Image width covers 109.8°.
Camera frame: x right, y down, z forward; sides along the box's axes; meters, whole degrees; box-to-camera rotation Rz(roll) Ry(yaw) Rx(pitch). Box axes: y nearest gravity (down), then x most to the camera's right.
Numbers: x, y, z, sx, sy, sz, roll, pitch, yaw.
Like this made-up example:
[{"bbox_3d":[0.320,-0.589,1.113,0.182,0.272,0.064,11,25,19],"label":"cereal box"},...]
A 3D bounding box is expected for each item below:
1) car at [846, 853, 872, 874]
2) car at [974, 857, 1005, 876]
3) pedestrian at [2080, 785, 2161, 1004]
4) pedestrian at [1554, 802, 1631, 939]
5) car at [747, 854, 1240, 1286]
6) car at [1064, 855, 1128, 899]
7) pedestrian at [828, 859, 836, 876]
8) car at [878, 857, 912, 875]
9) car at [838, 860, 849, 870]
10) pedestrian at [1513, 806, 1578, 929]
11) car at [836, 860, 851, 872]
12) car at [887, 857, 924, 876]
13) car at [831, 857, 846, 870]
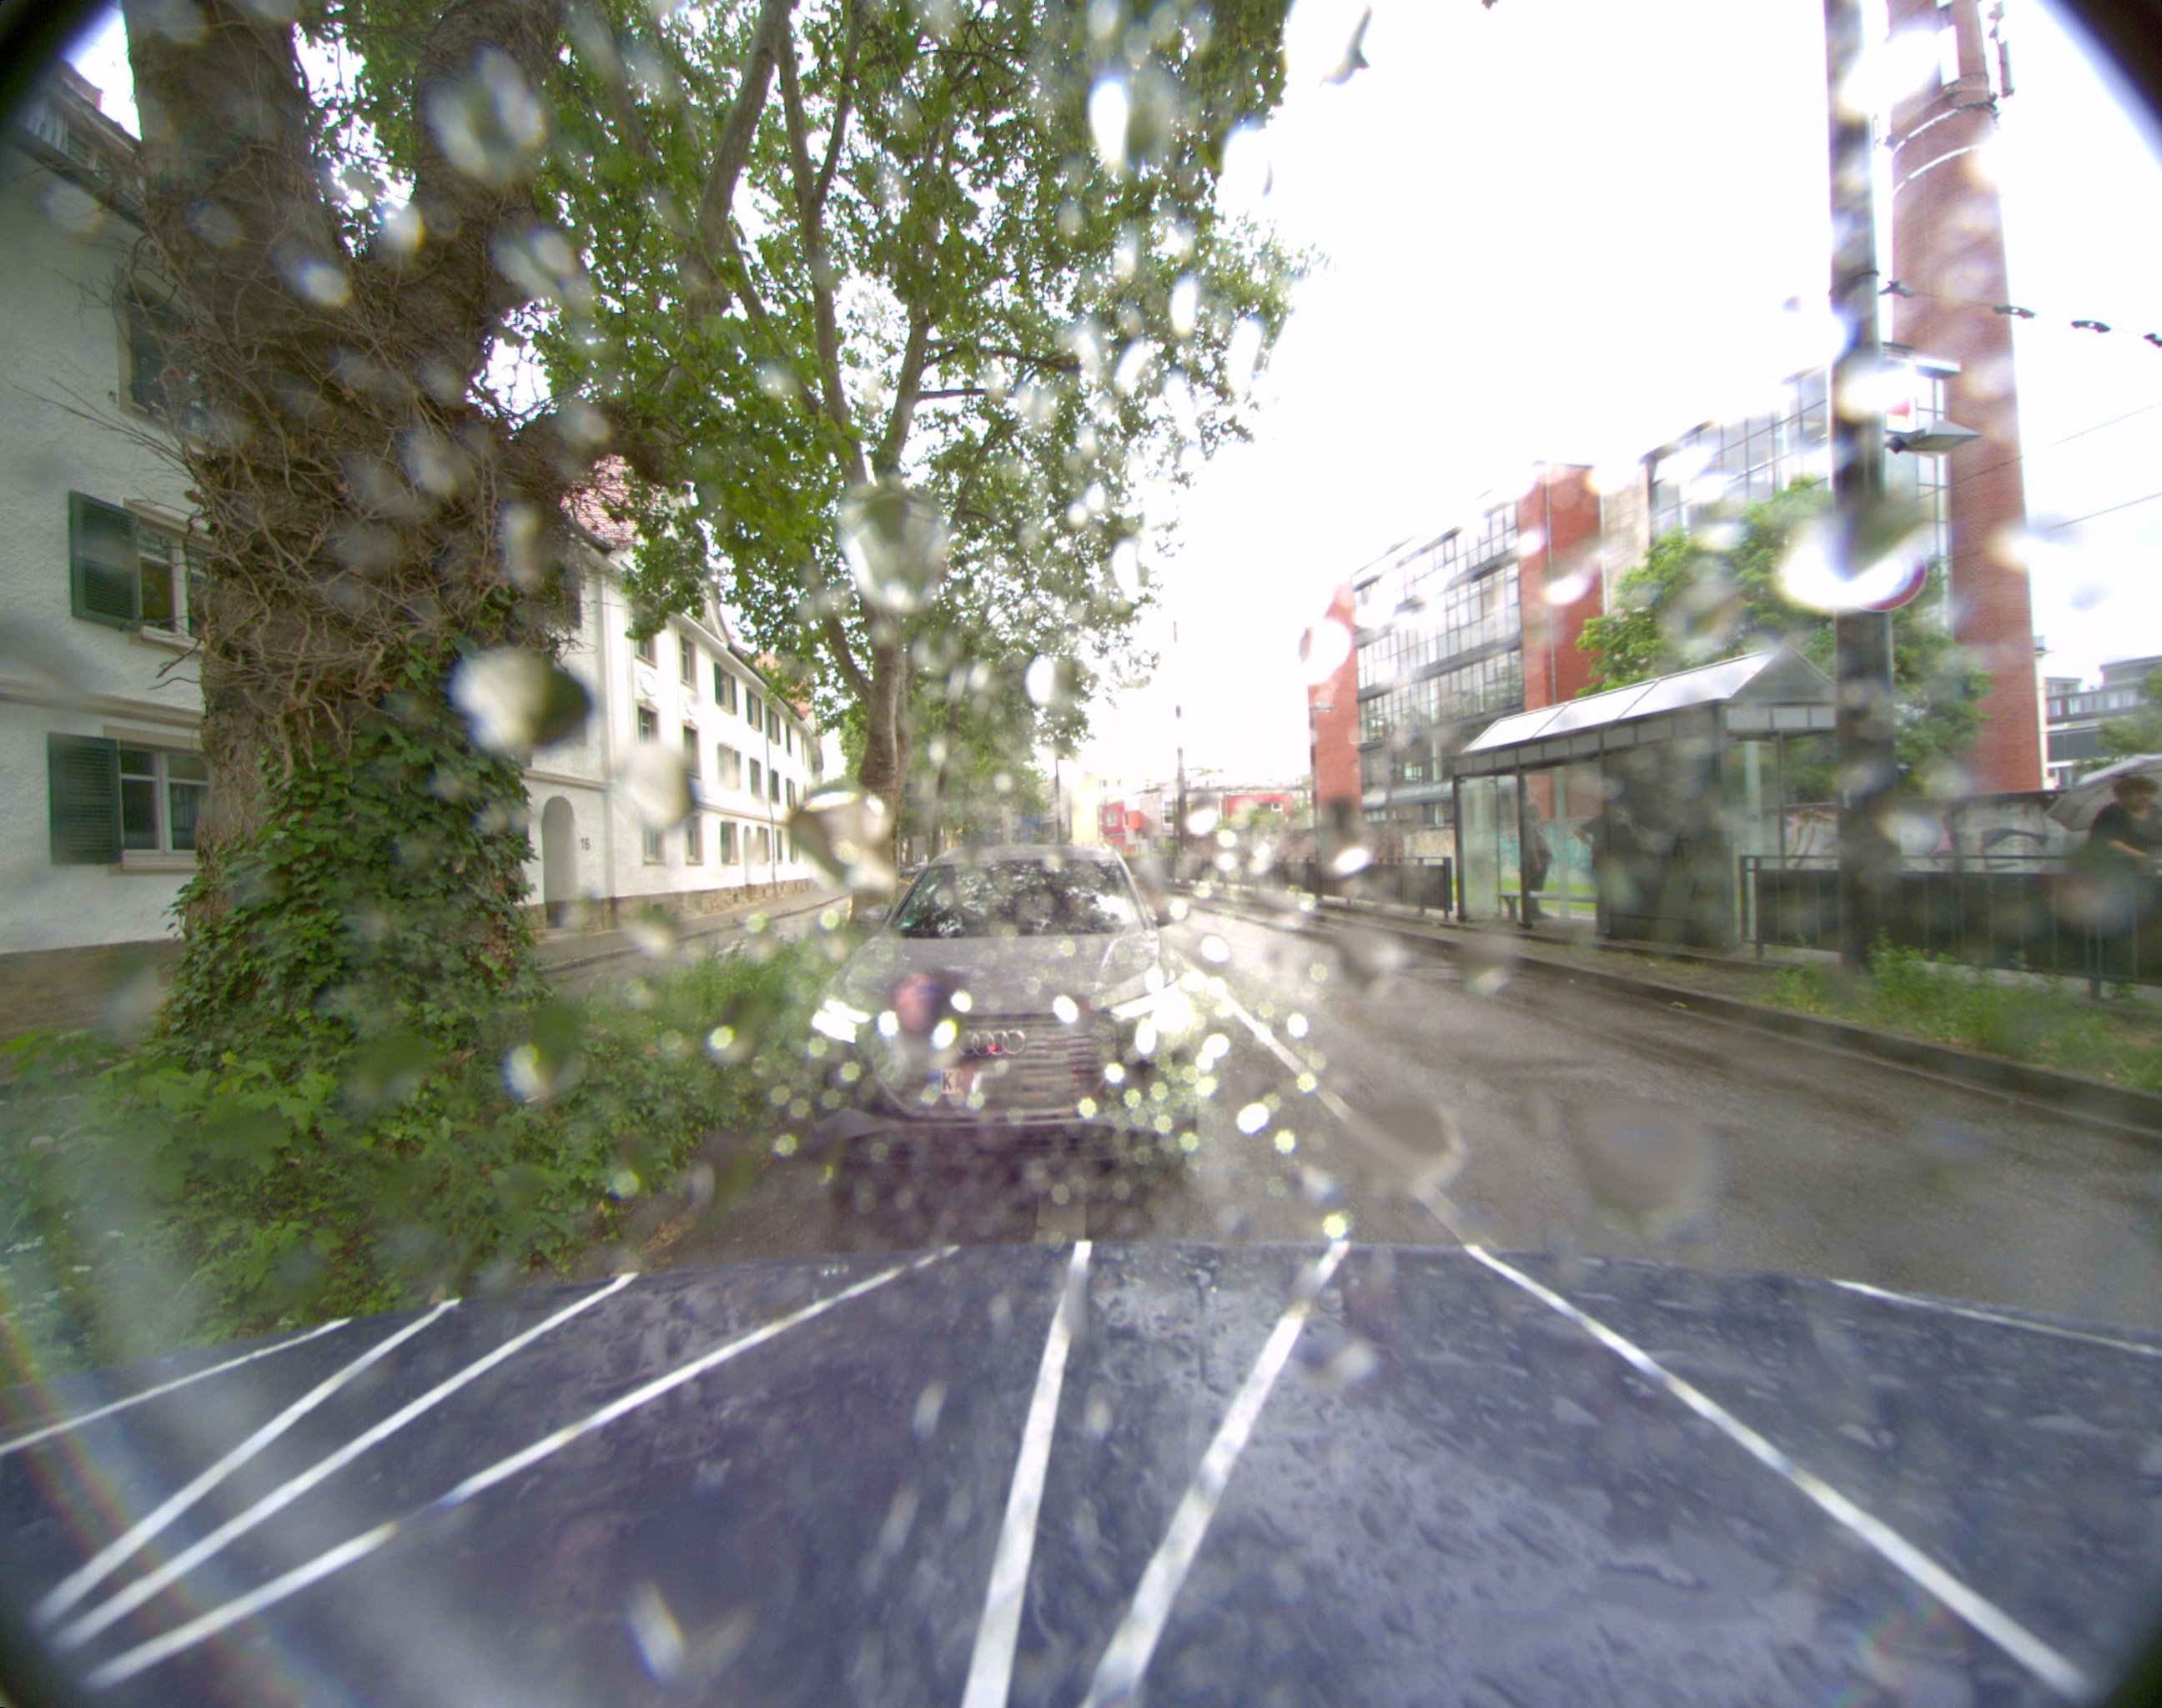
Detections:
[{"bbox_3d":[-26.133,1.093,89.368,2.199,2.250,5.401,-3,0,-24],"label":"car"},{"bbox_3d":[-8.045,1.096,66.539,1.758,1.582,4.228,-3,0,-18],"label":"car"},{"bbox_3d":[8.199,0.299,5.702,0.798,1.588,0.506,0,-2,-10],"label":"pedestrian"},{"bbox_3d":[6.742,0.212,10.043,0.629,1.738,0.564,-2,1,9],"label":"pedestrian"},{"bbox_3d":[-0.405,0.868,5.119,1.917,1.632,4.106,-2,0,-2],"label":"car"},{"bbox_3d":[0.535,0.916,32.542,1.809,1.673,4.599,-3,0,-10],"label":"car"},{"bbox_3d":[-26.533,1.456,80.905,0.674,1.811,0.678,-3,1,-18],"label":"pedestrian"},{"bbox_3d":[-23.197,1.489,94.659,4.002,2.002,1.997,-2,0,-17],"label":"car"},{"bbox_3d":[-50.034,2.211,160.231,2.002,2.001,3.993,3,-1,-20],"label":"car"},{"bbox_3d":[6.824,0.196,11.175,0.629,1.738,0.514,-2,1,9],"label":"pedestrian"},{"bbox_3d":[-33.810,1.658,108.231,1.834,1.517,3.993,-3,1,-19],"label":"car"},{"bbox_3d":[-20.226,1.455,87.564,4.002,2.002,1.997,-2,0,-17],"label":"car"},{"bbox_3d":[-38.399,1.492,120.374,2.002,2.001,3.993,3,-1,-20],"label":"car"}]
